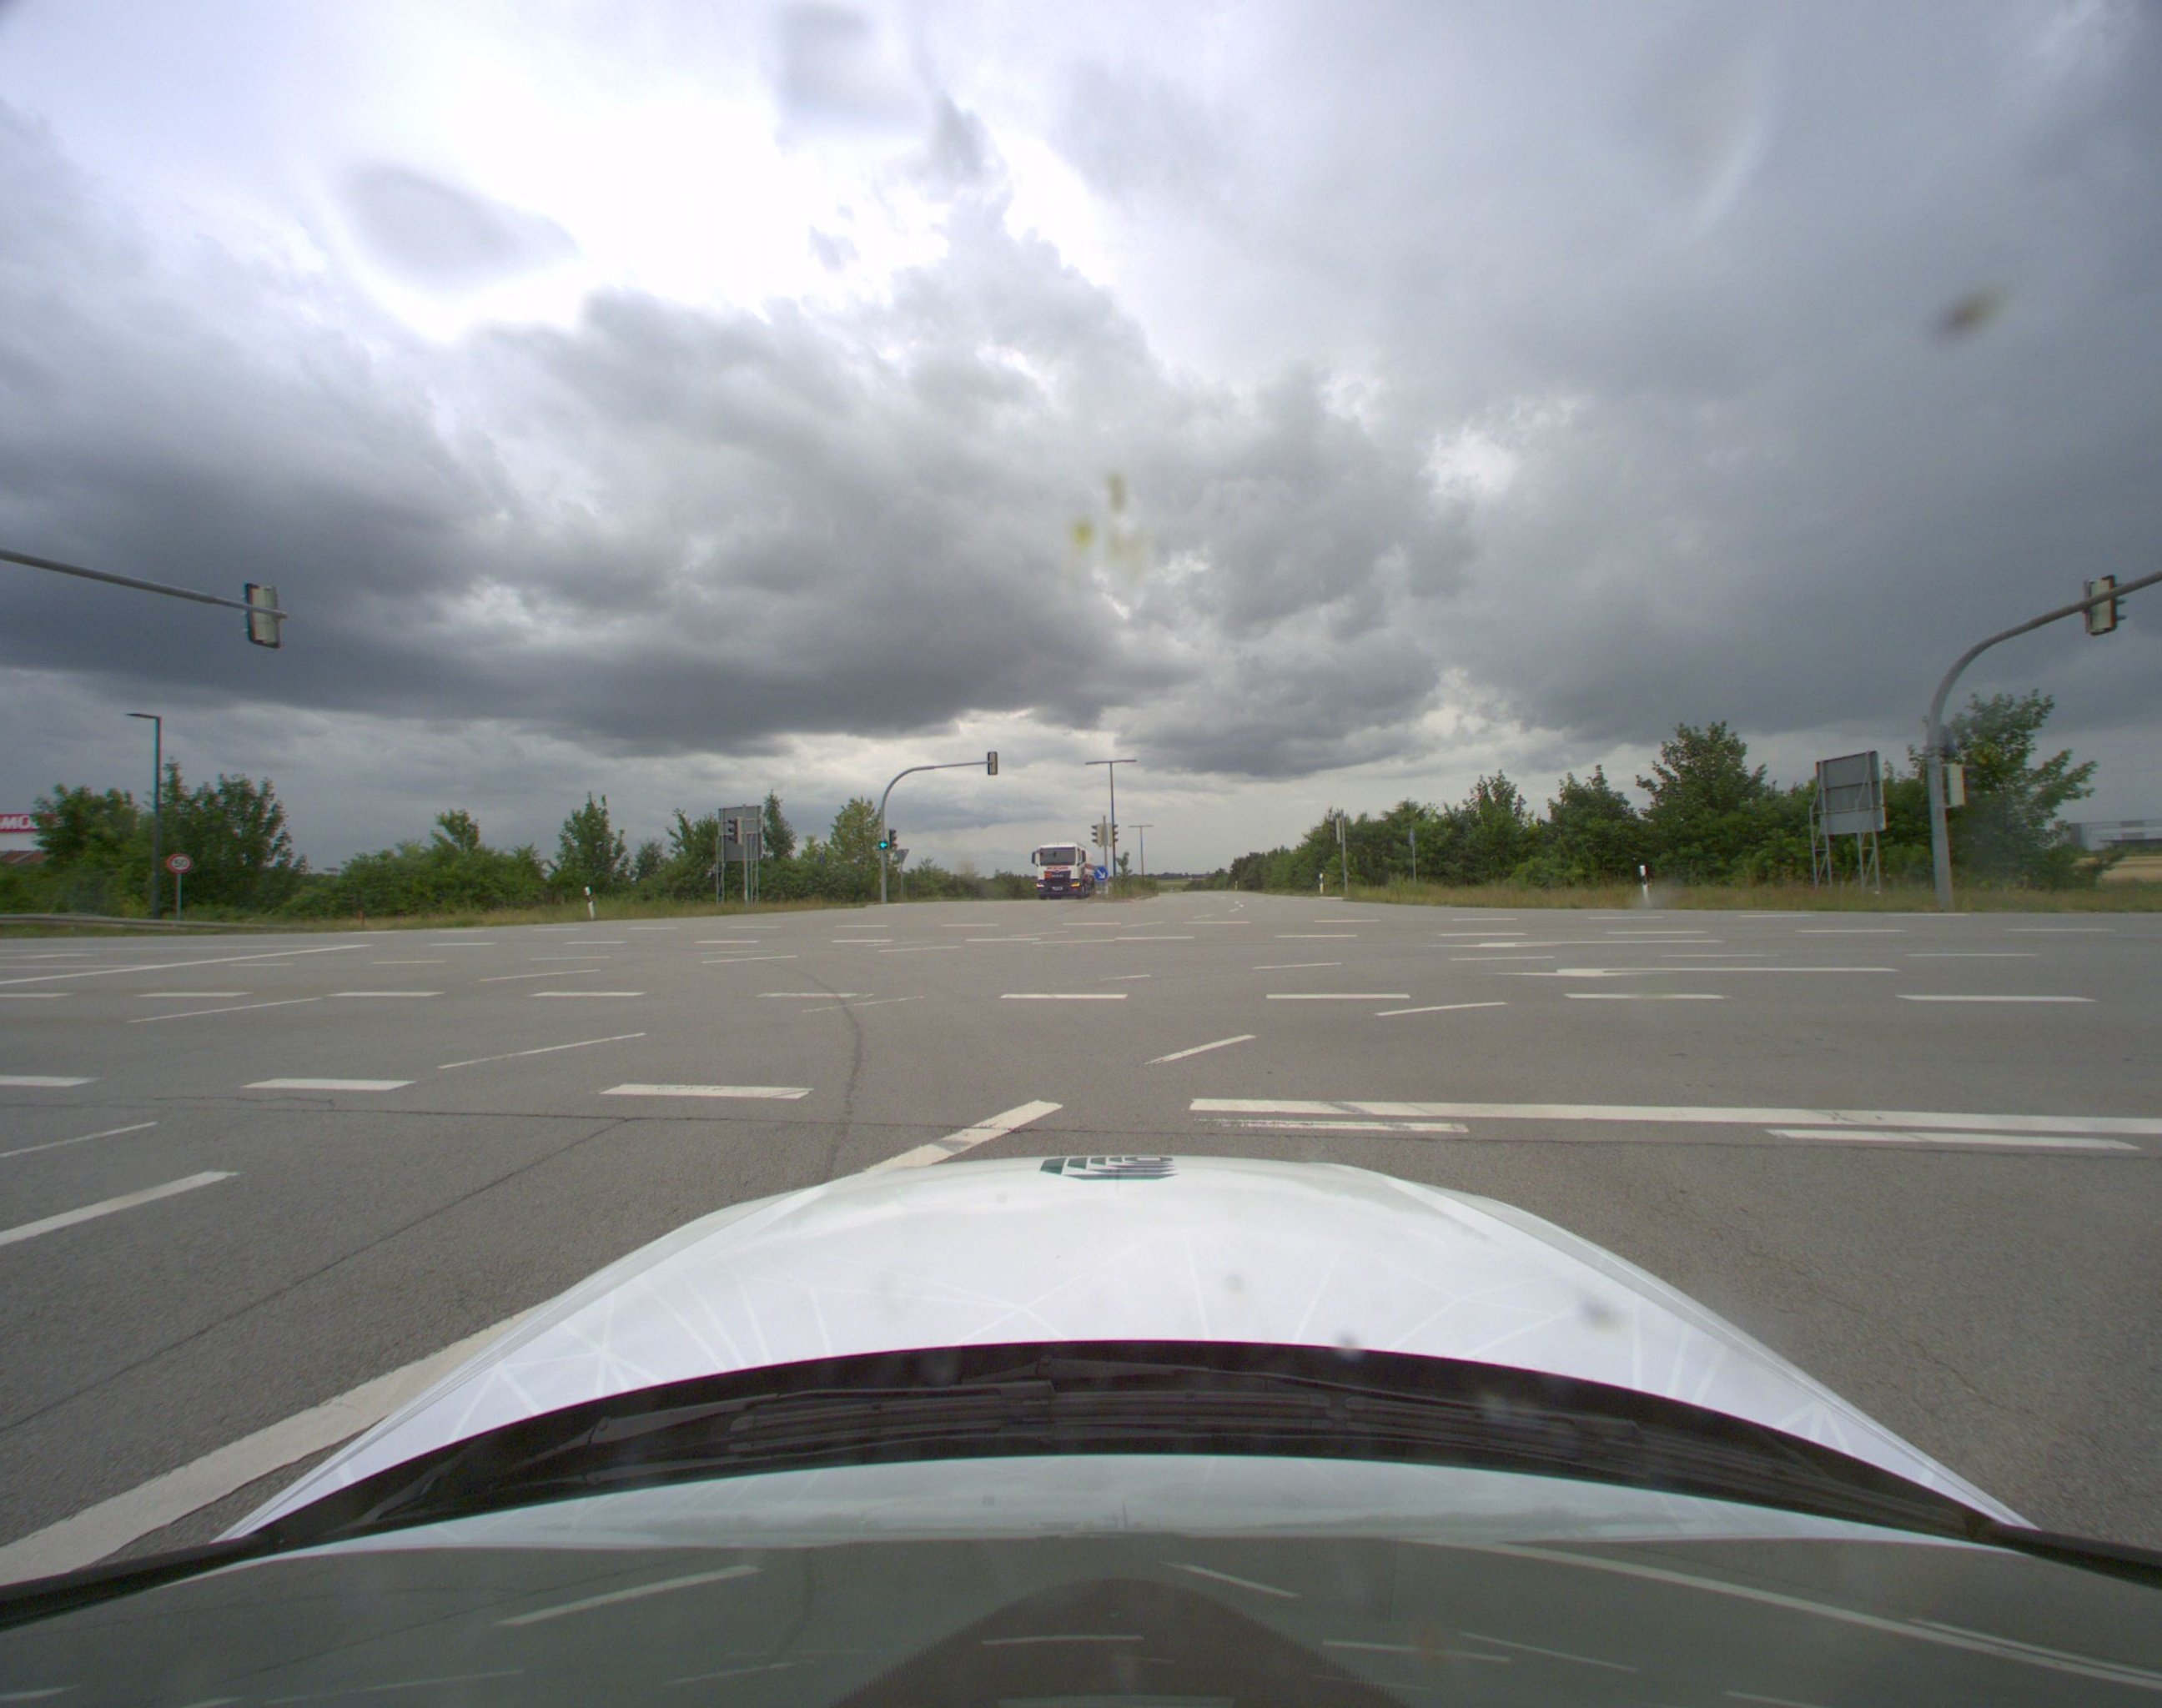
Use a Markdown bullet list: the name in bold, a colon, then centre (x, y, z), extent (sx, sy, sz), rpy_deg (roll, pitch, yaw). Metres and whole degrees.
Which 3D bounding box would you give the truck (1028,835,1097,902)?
- **truck**: centre (-0.908, 0.943, 47.450), extent (2.855, 3.408, 8.662), rpy_deg (-3, -3, 6)
